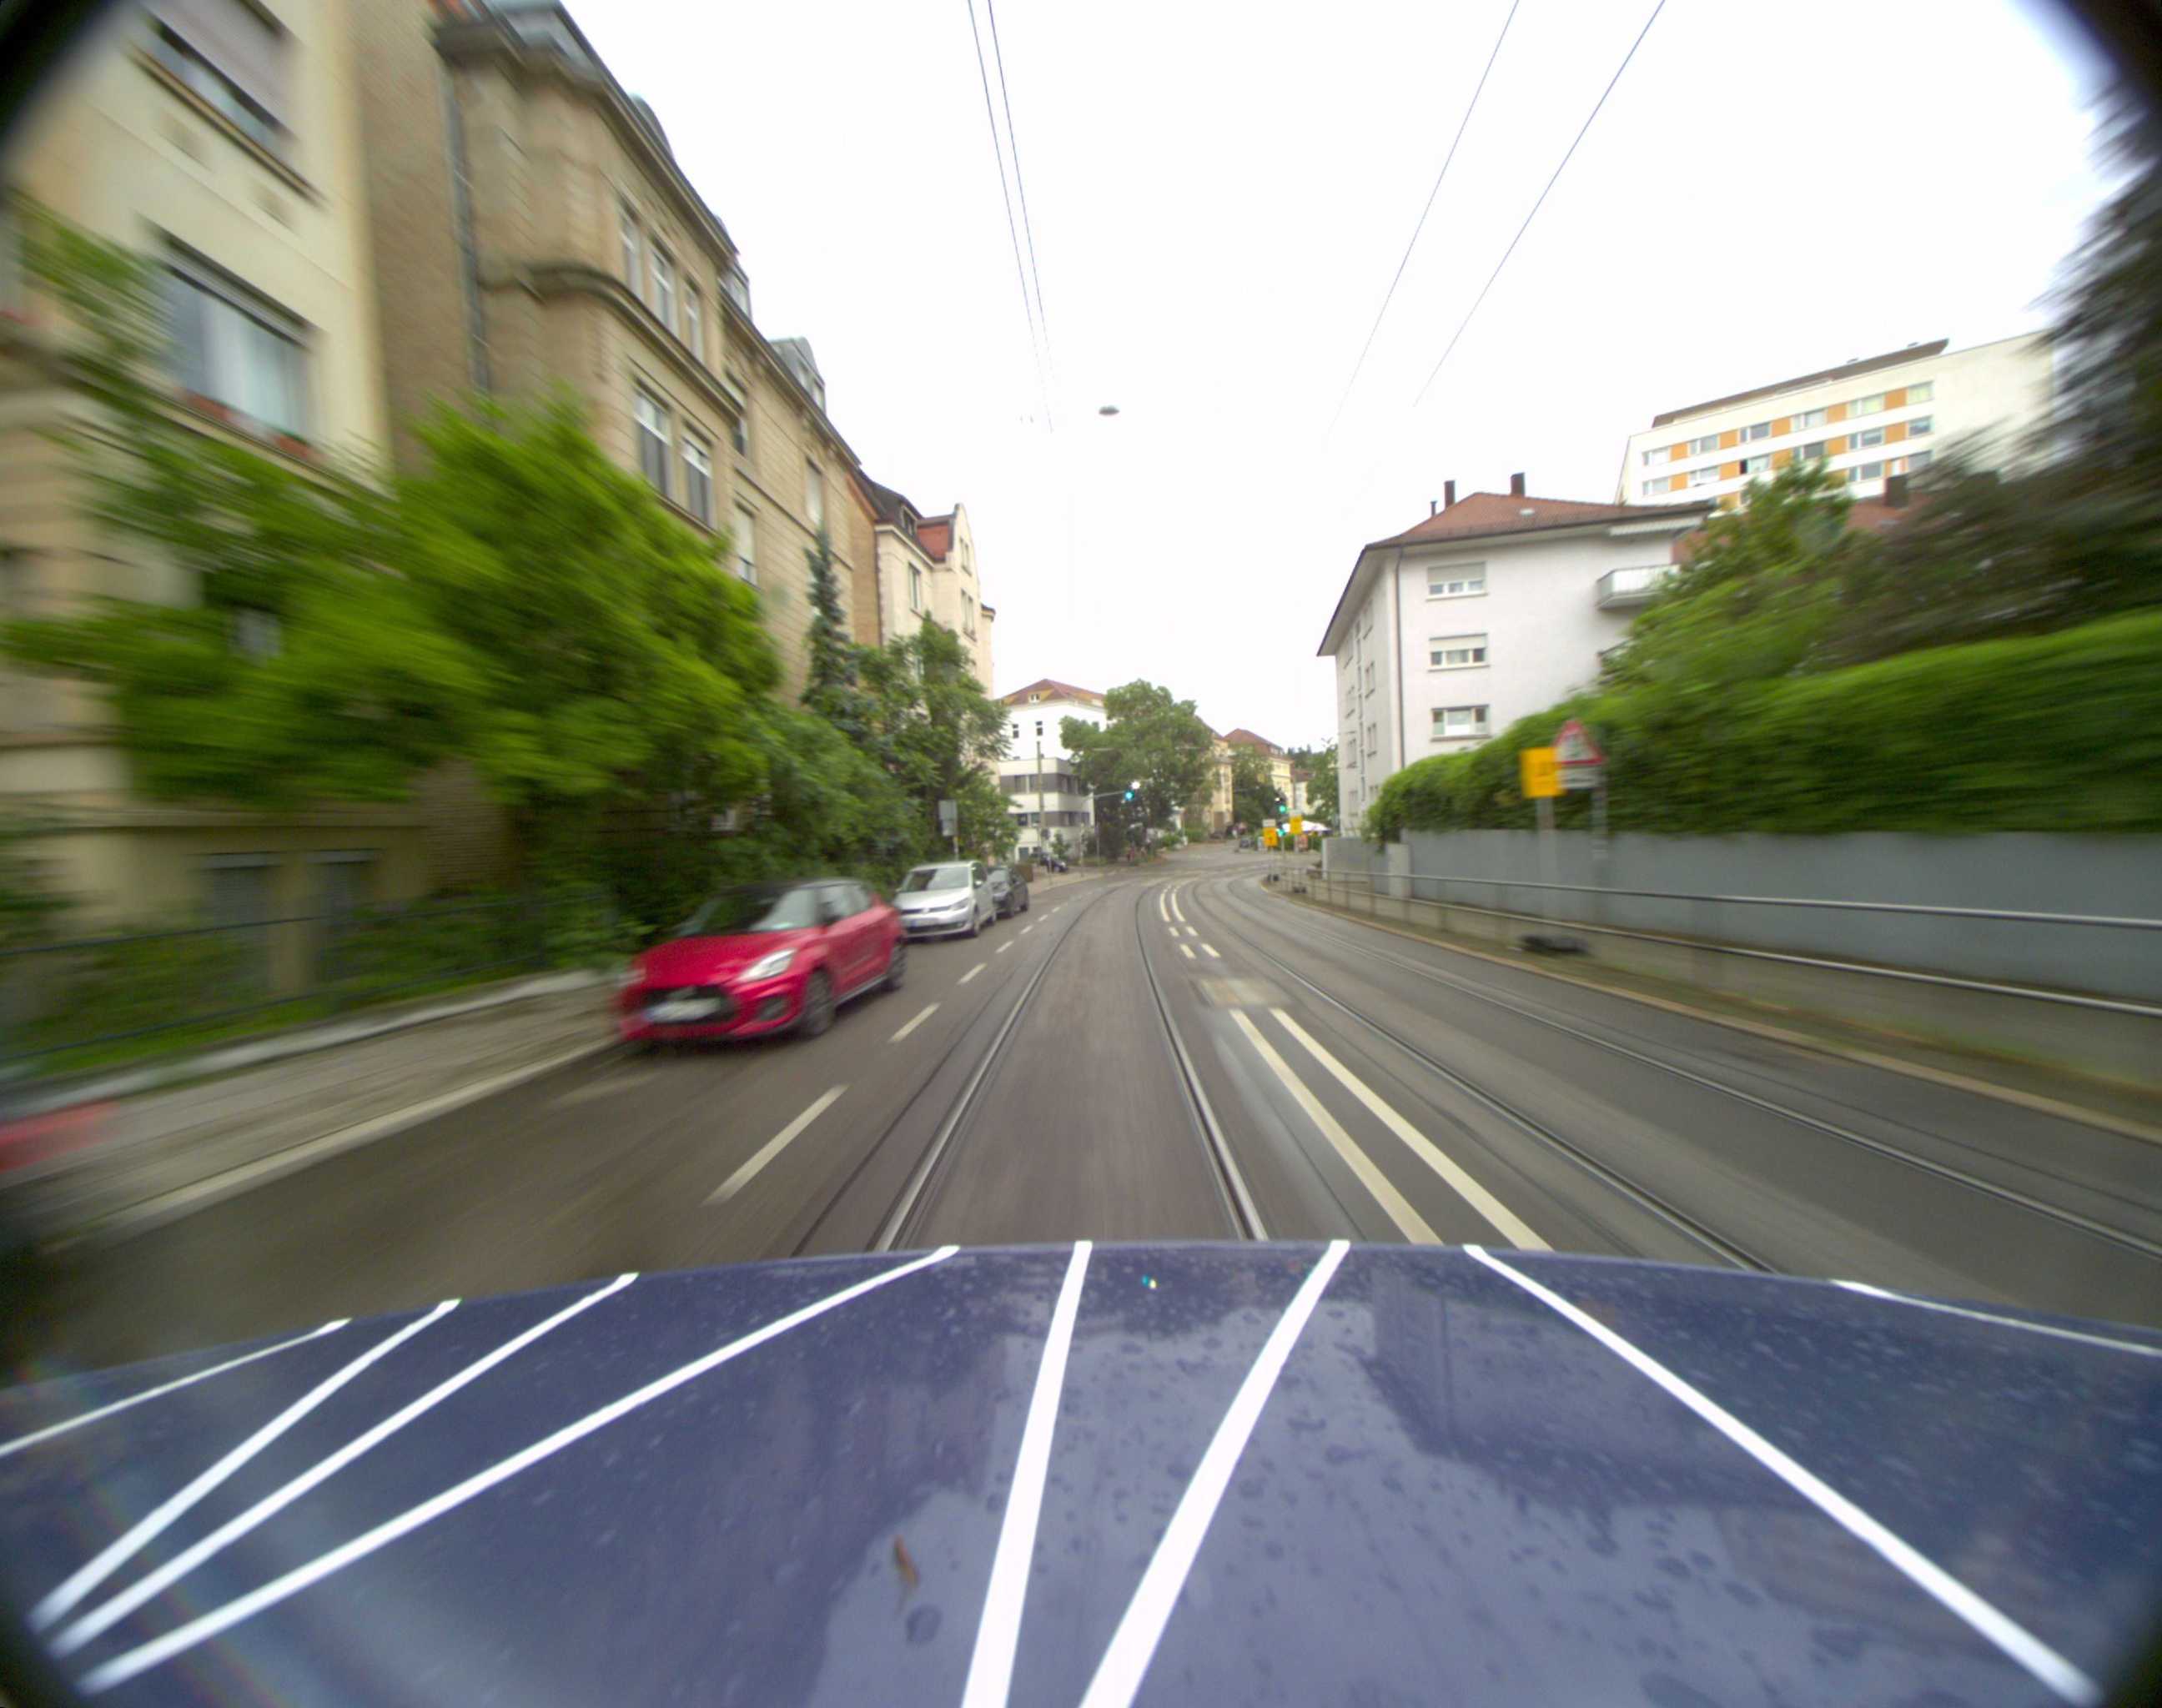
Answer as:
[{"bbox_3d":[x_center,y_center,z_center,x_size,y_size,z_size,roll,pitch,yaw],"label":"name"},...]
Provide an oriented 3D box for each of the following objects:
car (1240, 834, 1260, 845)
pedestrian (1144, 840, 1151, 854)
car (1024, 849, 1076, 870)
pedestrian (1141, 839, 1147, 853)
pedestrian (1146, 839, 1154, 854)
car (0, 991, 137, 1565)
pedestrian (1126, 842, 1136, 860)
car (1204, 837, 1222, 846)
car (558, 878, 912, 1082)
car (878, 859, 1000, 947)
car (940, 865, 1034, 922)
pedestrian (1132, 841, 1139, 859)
[{"bbox_3d":[22.588,-1.931,101.409,1.689,1.434,3.810,0,2,29],"label":"car"},{"bbox_3d":[7.536,-0.799,86.350,0.544,1.620,0.603,-1,-1,24],"label":"pedestrian"},{"bbox_3d":[-2.417,0.382,58.830,3.663,1.500,1.739,1,2,15],"label":"car"},{"bbox_3d":[6.915,-0.841,83.329,0.386,1.498,0.537,-3,4,-40],"label":"pedestrian"},{"bbox_3d":[7.613,-0.813,83.679,0.547,1.556,0.600,0,-1,-43],"label":"pedestrian"},{"bbox_3d":[-3.687,1.164,0.199,1.687,1.428,4.064,-4,0,1],"label":"car"},{"bbox_3d":[4.852,-0.302,73.906,0.743,1.690,0.674,3,0,18],"label":"pedestrian"},{"bbox_3d":[20.713,-1.944,119.374,1.596,1.333,3.642,-1,-1,31],"label":"car"},{"bbox_3d":[-3.230,1.091,8.058,1.726,1.428,3.842,-4,0,4],"label":"car"},{"bbox_3d":[-2.992,0.972,16.932,1.770,1.594,4.288,-2,0,1],"label":"car"},{"bbox_3d":[-2.572,1.056,21.791,1.769,1.382,4.002,-4,-1,5],"label":"car"},{"bbox_3d":[5.848,-0.409,81.669,0.542,1.913,0.917,-1,3,11],"label":"pedestrian"}]
